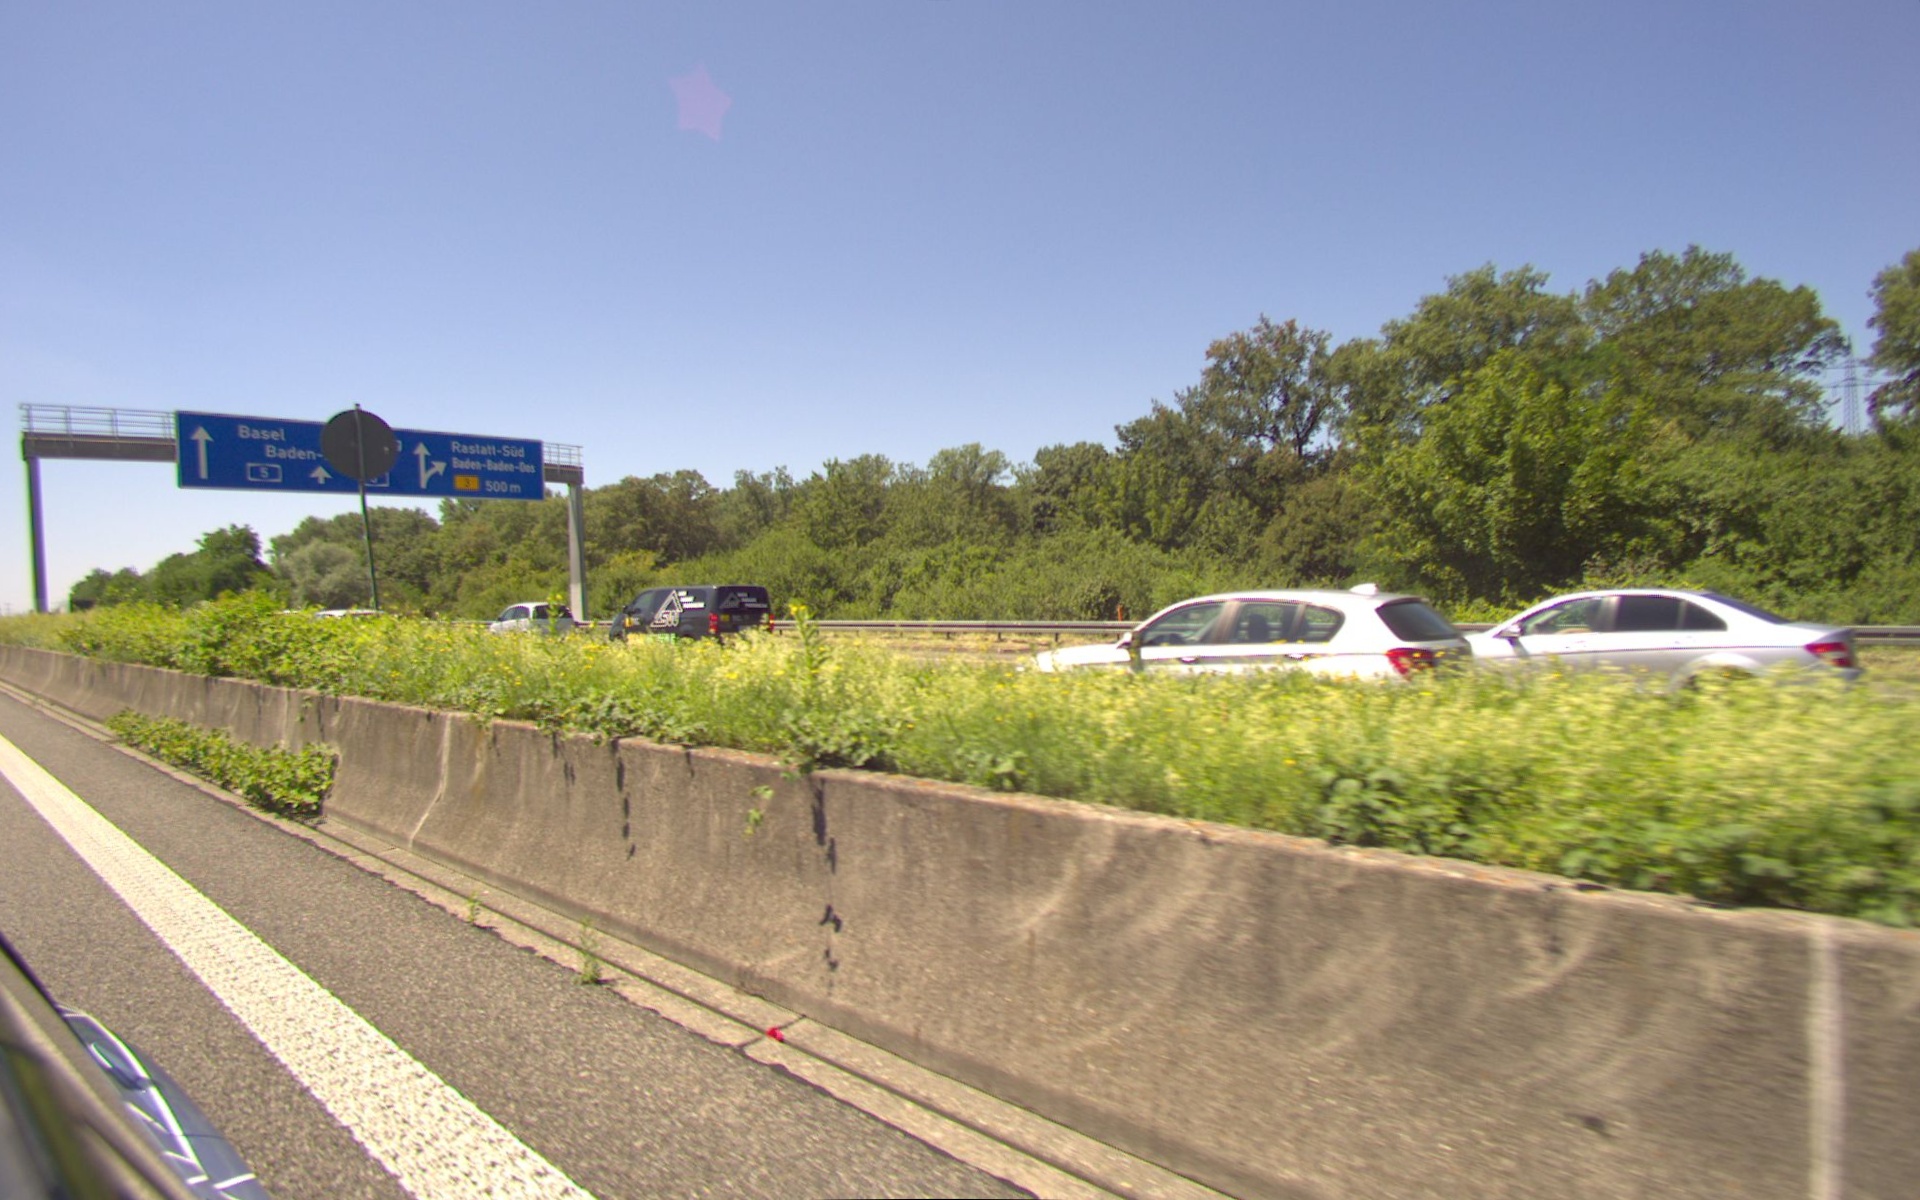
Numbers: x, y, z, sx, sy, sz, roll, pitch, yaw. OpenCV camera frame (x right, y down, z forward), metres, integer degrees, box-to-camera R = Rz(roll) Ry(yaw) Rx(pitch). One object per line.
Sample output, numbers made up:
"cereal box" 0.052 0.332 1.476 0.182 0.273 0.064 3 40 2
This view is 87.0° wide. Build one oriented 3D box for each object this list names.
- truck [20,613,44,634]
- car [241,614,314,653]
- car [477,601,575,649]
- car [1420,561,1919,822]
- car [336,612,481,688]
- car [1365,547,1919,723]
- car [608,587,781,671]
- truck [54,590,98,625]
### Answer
"truck" -175.505 4.467 191.342 9.034 3.893 2.626 -2 -1 44
"car" -29.170 1.408 43.224 3.998 1.586 1.618 -1 -1 41
"car" -15.224 0.856 35.421 4.080 1.566 1.554 -1 -1 41
"car" 5.274 0.494 6.435 3.996 1.408 1.633 -1 0 39
"car" -12.264 1.051 22.401 3.999 1.497 1.550 -1 0 42
"car" 6.988 0.322 10.712 4.718 1.486 1.679 -1 0 42
"car" -6.524 0.668 24.524 4.888 1.857 1.679 -1 0 43
"truck" -116.182 1.060 132.912 14.498 4.262 3.142 -2 -1 44
